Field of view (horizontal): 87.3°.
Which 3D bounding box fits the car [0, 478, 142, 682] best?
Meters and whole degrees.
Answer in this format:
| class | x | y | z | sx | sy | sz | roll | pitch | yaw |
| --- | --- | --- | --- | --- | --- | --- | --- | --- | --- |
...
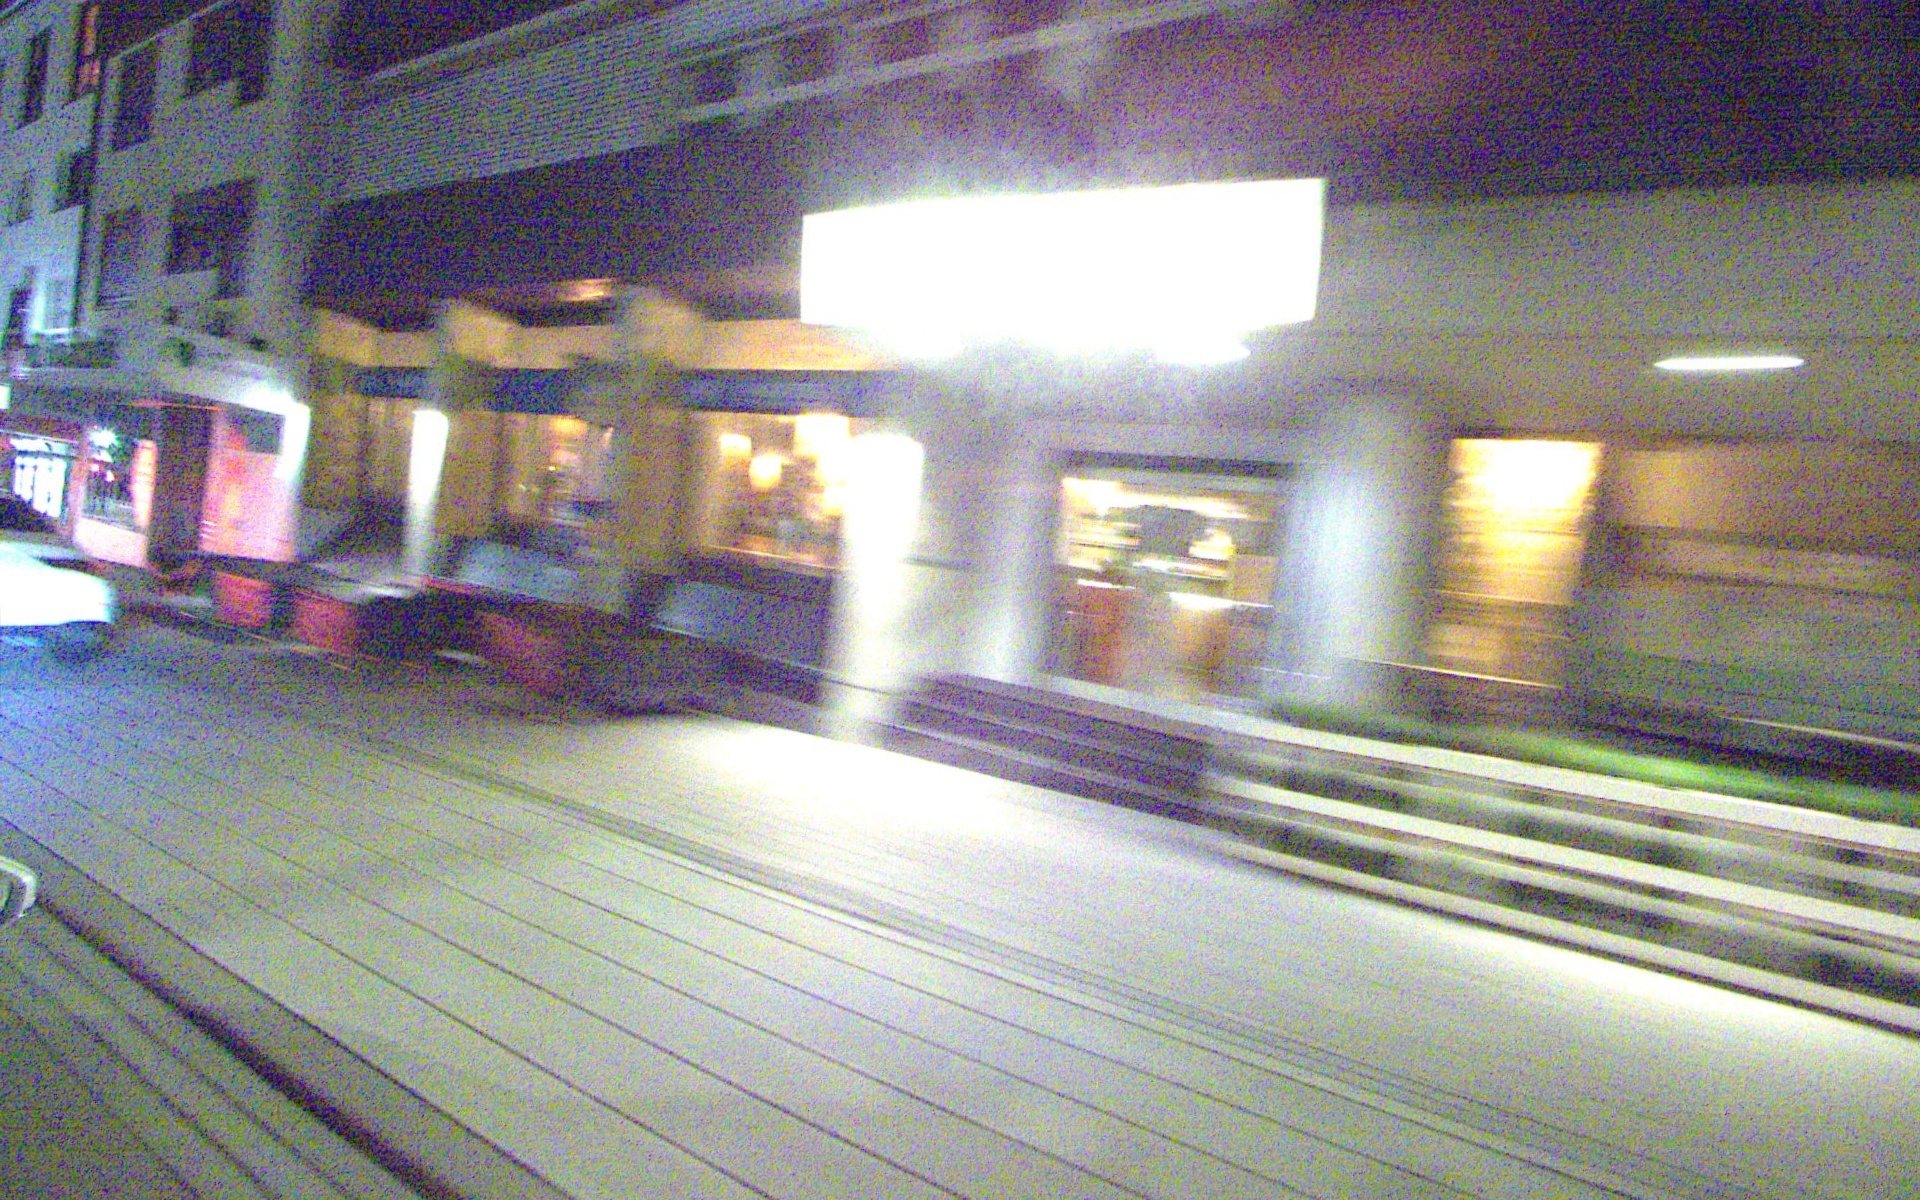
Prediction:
| class | x | y | z | sx | sy | sz | roll | pitch | yaw |
| --- | --- | --- | --- | --- | --- | --- | --- | --- | --- |
| car | -8.854 | -0.360 | 8.309 | 4.518 | 1.461 | 1.857 | 7 | 2 | 32 |
